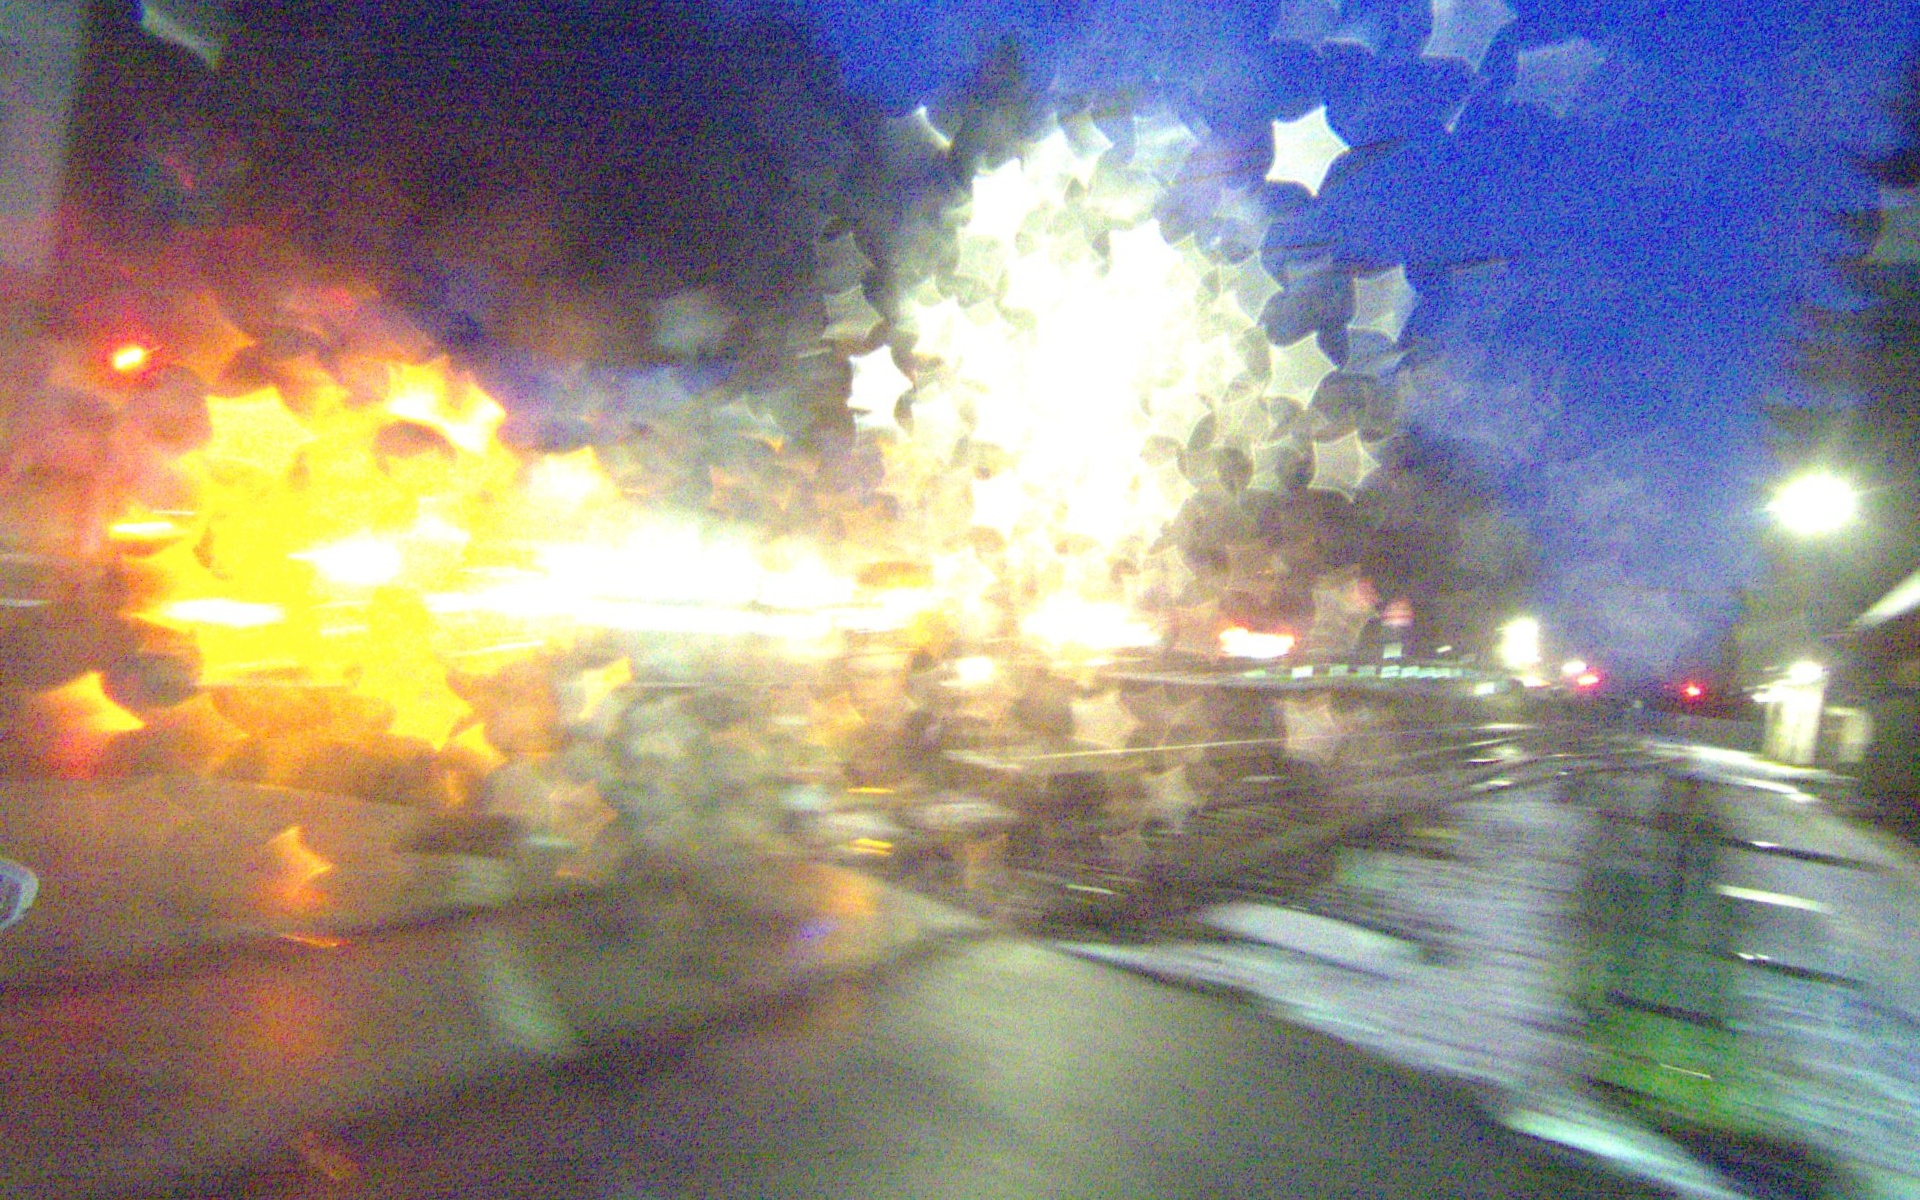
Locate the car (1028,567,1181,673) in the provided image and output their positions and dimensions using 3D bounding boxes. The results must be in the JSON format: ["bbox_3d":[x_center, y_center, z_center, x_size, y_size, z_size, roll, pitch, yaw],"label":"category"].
[{"bbox_3d":[4.242,0.644,28.782,2.140,2.471,4.847,7,0,35],"label":"car"}]

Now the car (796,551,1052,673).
[{"bbox_3d":[-0.464,0.271,16.726,1.886,1.530,4.225,9,2,36],"label":"car"}]

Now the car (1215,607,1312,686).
[{"bbox_3d":[9.608,1.512,31.625,1.747,1.970,4.251,10,-1,30],"label":"car"}]

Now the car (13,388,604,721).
[{"bbox_3d":[-4.688,-0.187,8.214,2.028,1.696,4.141,10,-3,-3],"label":"car"}]

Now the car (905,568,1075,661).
[{"bbox_3d":[0.814,0.404,23.849,1.949,1.533,4.199,7,-3,34],"label":"car"}]
